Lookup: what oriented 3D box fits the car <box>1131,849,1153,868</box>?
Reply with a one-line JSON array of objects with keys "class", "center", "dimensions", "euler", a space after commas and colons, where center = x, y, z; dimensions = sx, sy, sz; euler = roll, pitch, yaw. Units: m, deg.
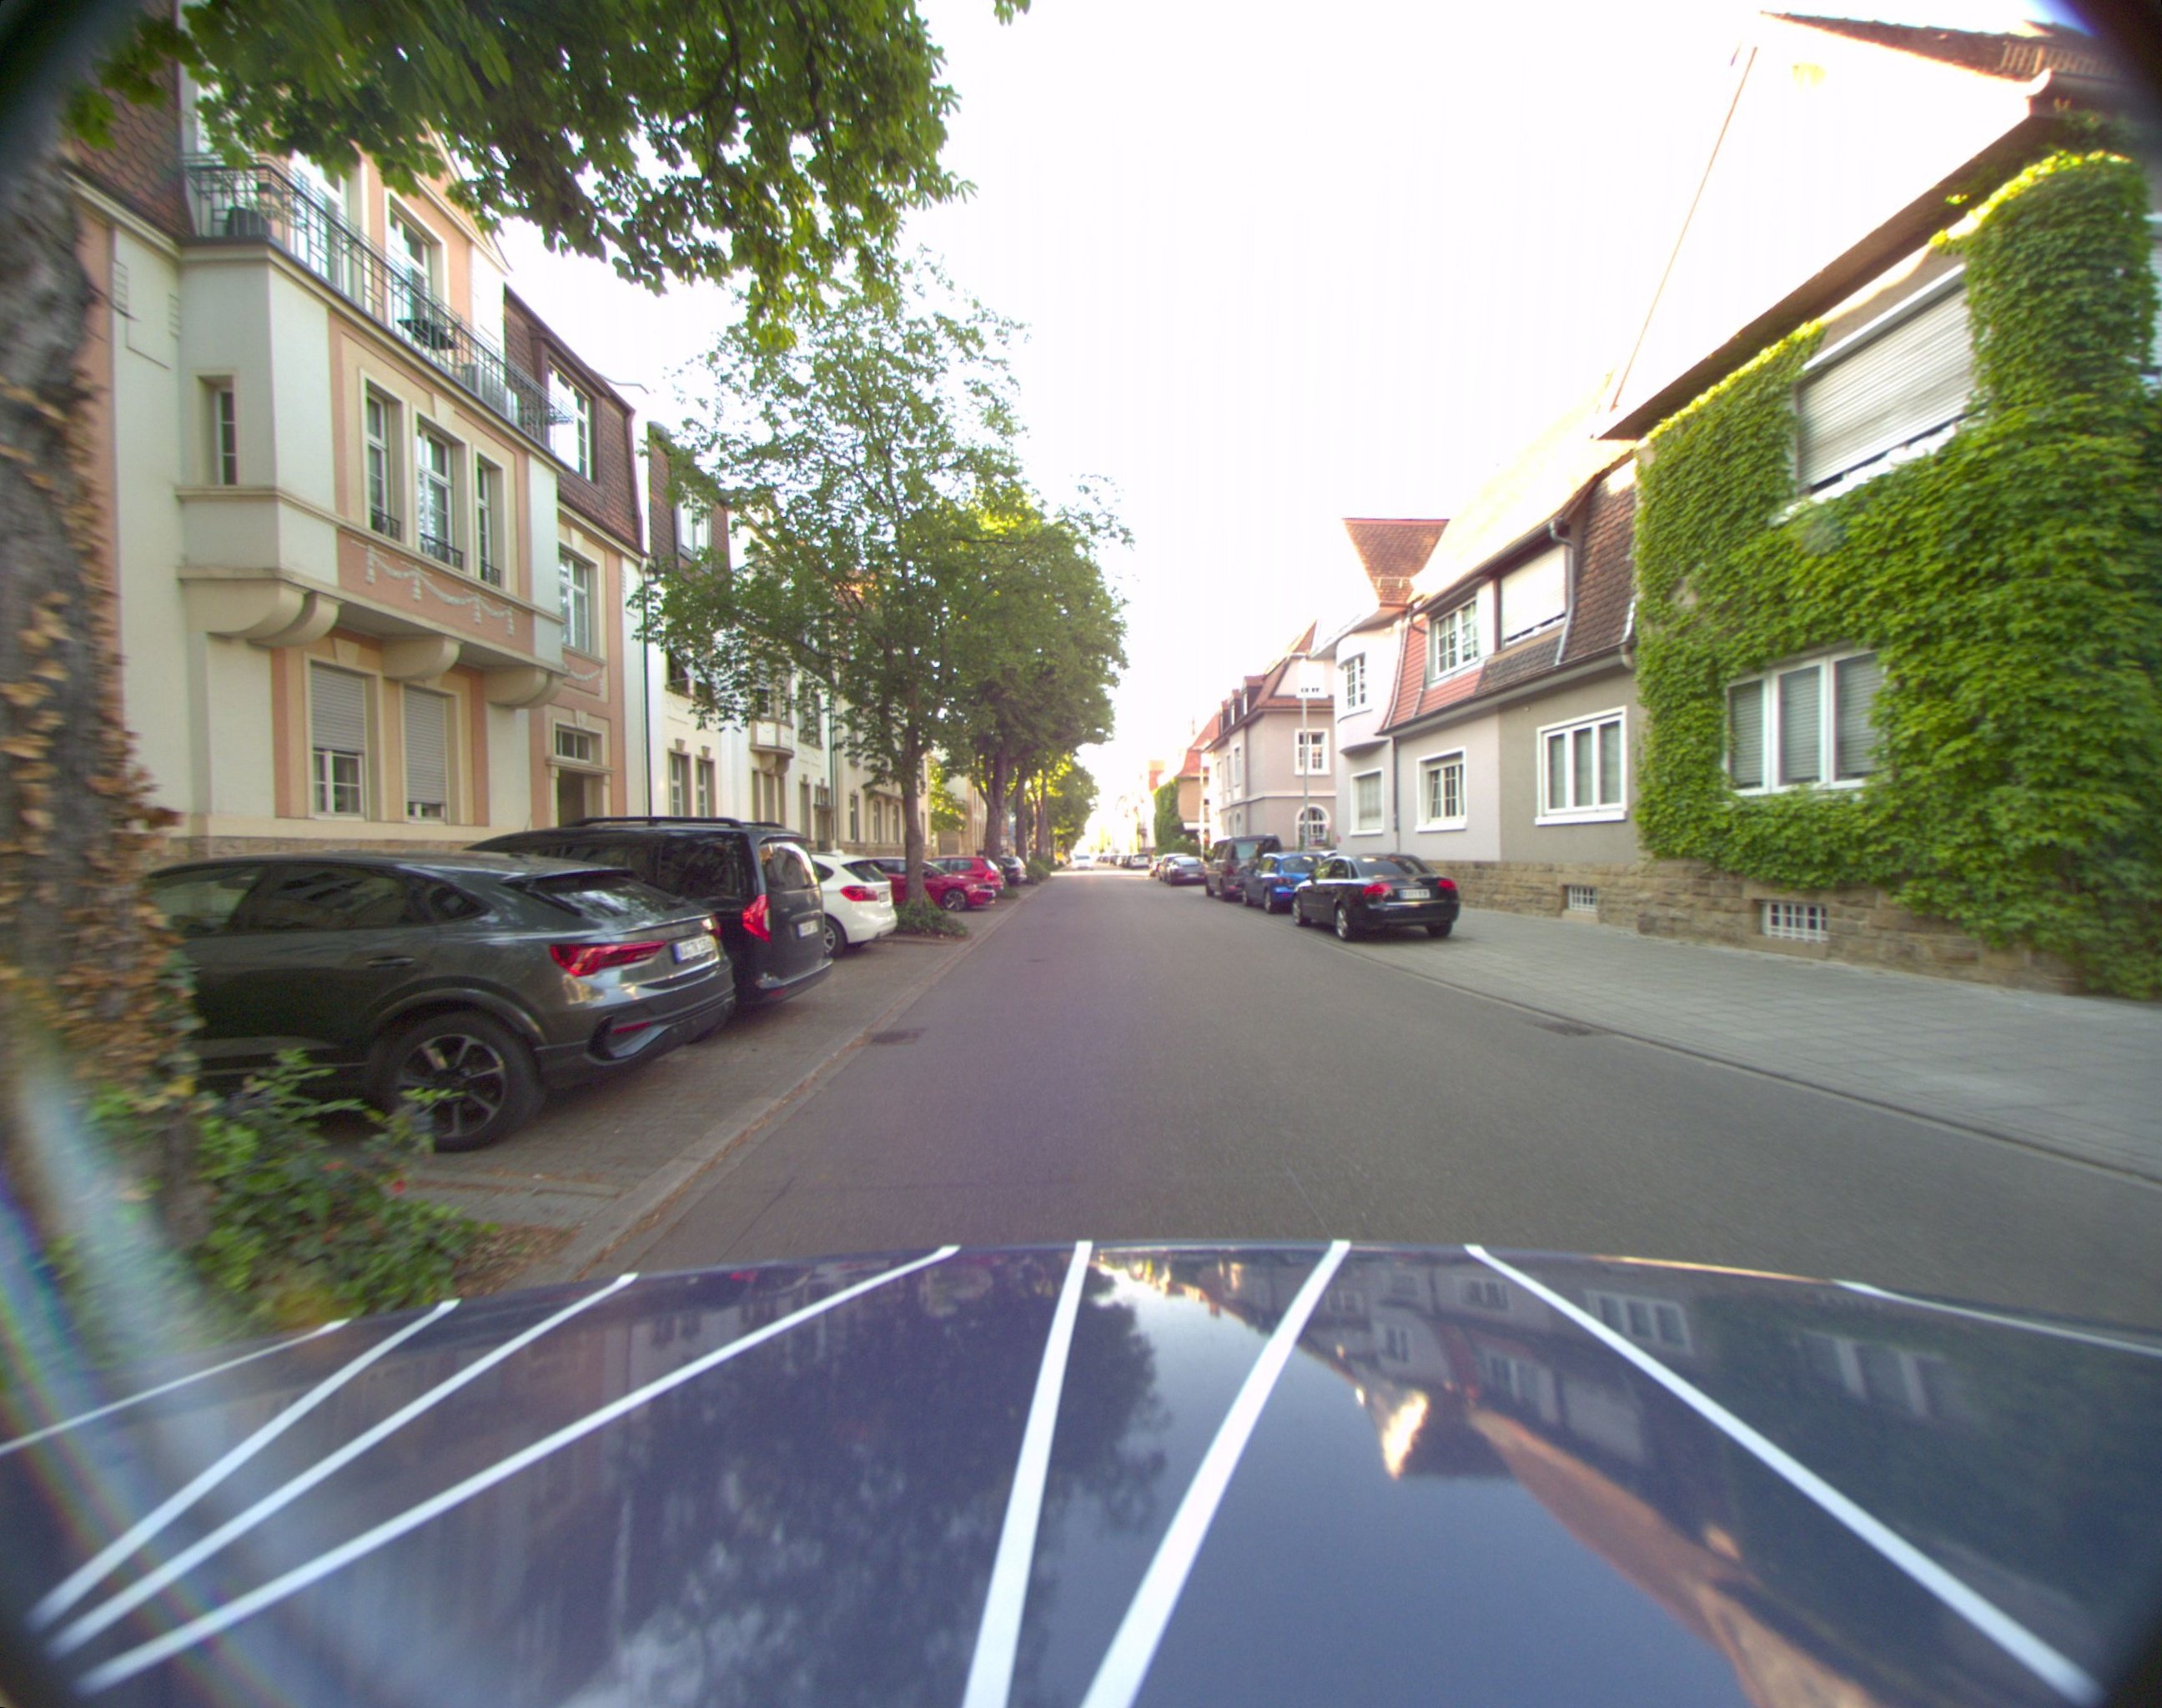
[{"class": "car", "center": [5.351, 0.397, 67.028], "dimensions": [1.699, 1.558, 3.677], "euler": [-3, 0, 2]}]

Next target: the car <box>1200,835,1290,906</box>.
[{"class": "car", "center": [5.115, 0.471, 24.374], "dimensions": [1.842, 1.963, 4.612], "euler": [-3, 0, 0]}]

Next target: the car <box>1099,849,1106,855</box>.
[{"class": "car", "center": [5.646, -0.421, 201.696], "dimensions": [1.699, 1.520, 3.677], "euler": [-3, 0, 2]}]

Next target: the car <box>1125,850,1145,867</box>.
[{"class": "car", "center": [5.258, 0.387, 74.293], "dimensions": [1.699, 1.520, 3.677], "euler": [-3, 0, 2]}]

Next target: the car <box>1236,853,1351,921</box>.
[{"class": "car", "center": [5.254, 0.747, 19.362], "dimensions": [1.768, 1.438, 4.062], "euler": [-3, 0, 0]}]

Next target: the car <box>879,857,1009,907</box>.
[{"class": "car", "center": [-4.170, 0.841, 23.476], "dimensions": [3.680, 1.473, 1.659], "euler": [0, 1, 3]}]

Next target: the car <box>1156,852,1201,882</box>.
[{"class": "car", "center": [5.236, 0.673, 41.164], "dimensions": [1.932, 1.458, 4.062], "euler": [-3, 0, 2]}]

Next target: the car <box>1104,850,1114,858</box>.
[{"class": "car", "center": [5.428, 0.019, 148.145], "dimensions": [1.699, 1.520, 3.677], "euler": [-3, 0, 2]}]

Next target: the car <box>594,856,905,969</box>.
[{"class": "car", "center": [-4.850, 0.830, 11.540], "dimensions": [3.950, 1.568, 1.719], "euler": [0, 1, 0]}]

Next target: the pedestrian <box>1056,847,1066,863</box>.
[{"class": "pedestrian", "center": [-2.558, 0.108, 97.356], "dimensions": [1.119, 1.926, 1.097], "euler": [-2, 1, -1]}]

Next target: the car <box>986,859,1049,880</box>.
[{"class": "car", "center": [-3.615, 0.882, 43.447], "dimensions": [3.399, 1.143, 1.542], "euler": [0, 1, 2]}]

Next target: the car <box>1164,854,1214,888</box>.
[{"class": "car", "center": [5.019, 0.746, 35.687], "dimensions": [1.932, 1.376, 4.063], "euler": [-3, 0, 4]}]

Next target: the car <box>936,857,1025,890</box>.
[{"class": "car", "center": [-4.356, 0.834, 33.287], "dimensions": [3.680, 1.390, 1.576], "euler": [0, 1, 2]}]

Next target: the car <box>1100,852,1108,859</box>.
[{"class": "car", "center": [5.117, 0.299, 172.315], "dimensions": [1.699, 1.520, 3.677], "euler": [-3, 0, 2]}]

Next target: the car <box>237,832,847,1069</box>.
[{"class": "car", "center": [-4.451, 0.743, 6.840], "dimensions": [4.121, 1.827, 1.844], "euler": [0, 1, -2]}]

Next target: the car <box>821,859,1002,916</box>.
[{"class": "car", "center": [-4.562, 0.881, 20.947], "dimensions": [4.530, 1.443, 1.868], "euler": [0, 1, 3]}]

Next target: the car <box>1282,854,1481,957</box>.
[{"class": "car", "center": [5.106, 0.782, 13.653], "dimensions": [1.806, 1.438, 4.428], "euler": [-3, 0, 0]}]

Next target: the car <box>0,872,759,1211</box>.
[{"class": "car", "center": [-4.549, 0.893, 4.465], "dimensions": [4.522, 1.514, 1.844], "euler": [0, 1, -4]}]

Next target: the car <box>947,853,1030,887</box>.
[{"class": "car", "center": [-4.323, 0.751, 35.850], "dimensions": [3.680, 1.548, 1.576], "euler": [0, 1, 2]}]

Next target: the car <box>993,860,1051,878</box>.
[{"class": "car", "center": [-3.569, 0.885, 46.653], "dimensions": [3.399, 1.057, 1.542], "euler": [0, 1, 2]}]

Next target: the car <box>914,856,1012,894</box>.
[{"class": "car", "center": [-4.715, 0.821, 30.720], "dimensions": [3.680, 1.457, 1.576], "euler": [0, 1, 2]}]

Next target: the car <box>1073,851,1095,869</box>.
[{"class": "car", "center": [0.265, 0.522, 66.198], "dimensions": [1.819, 1.454, 4.072], "euler": [-2, 0, 1]}]

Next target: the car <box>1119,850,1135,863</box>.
[{"class": "car", "center": [5.382, 0.274, 90.034], "dimensions": [1.699, 1.520, 3.677], "euler": [-3, 0, 2]}]

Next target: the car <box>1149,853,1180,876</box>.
[{"class": "car", "center": [5.384, 0.665, 49.404], "dimensions": [1.662, 1.354, 3.677], "euler": [-3, 0, 2]}]

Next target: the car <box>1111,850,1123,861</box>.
[{"class": "car", "center": [5.435, 0.251, 114.886], "dimensions": [1.699, 1.520, 3.677], "euler": [-3, 0, 2]}]

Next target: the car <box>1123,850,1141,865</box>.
[{"class": "car", "center": [5.354, 0.345, 79.786], "dimensions": [1.699, 1.520, 3.677], "euler": [-3, 0, 2]}]
